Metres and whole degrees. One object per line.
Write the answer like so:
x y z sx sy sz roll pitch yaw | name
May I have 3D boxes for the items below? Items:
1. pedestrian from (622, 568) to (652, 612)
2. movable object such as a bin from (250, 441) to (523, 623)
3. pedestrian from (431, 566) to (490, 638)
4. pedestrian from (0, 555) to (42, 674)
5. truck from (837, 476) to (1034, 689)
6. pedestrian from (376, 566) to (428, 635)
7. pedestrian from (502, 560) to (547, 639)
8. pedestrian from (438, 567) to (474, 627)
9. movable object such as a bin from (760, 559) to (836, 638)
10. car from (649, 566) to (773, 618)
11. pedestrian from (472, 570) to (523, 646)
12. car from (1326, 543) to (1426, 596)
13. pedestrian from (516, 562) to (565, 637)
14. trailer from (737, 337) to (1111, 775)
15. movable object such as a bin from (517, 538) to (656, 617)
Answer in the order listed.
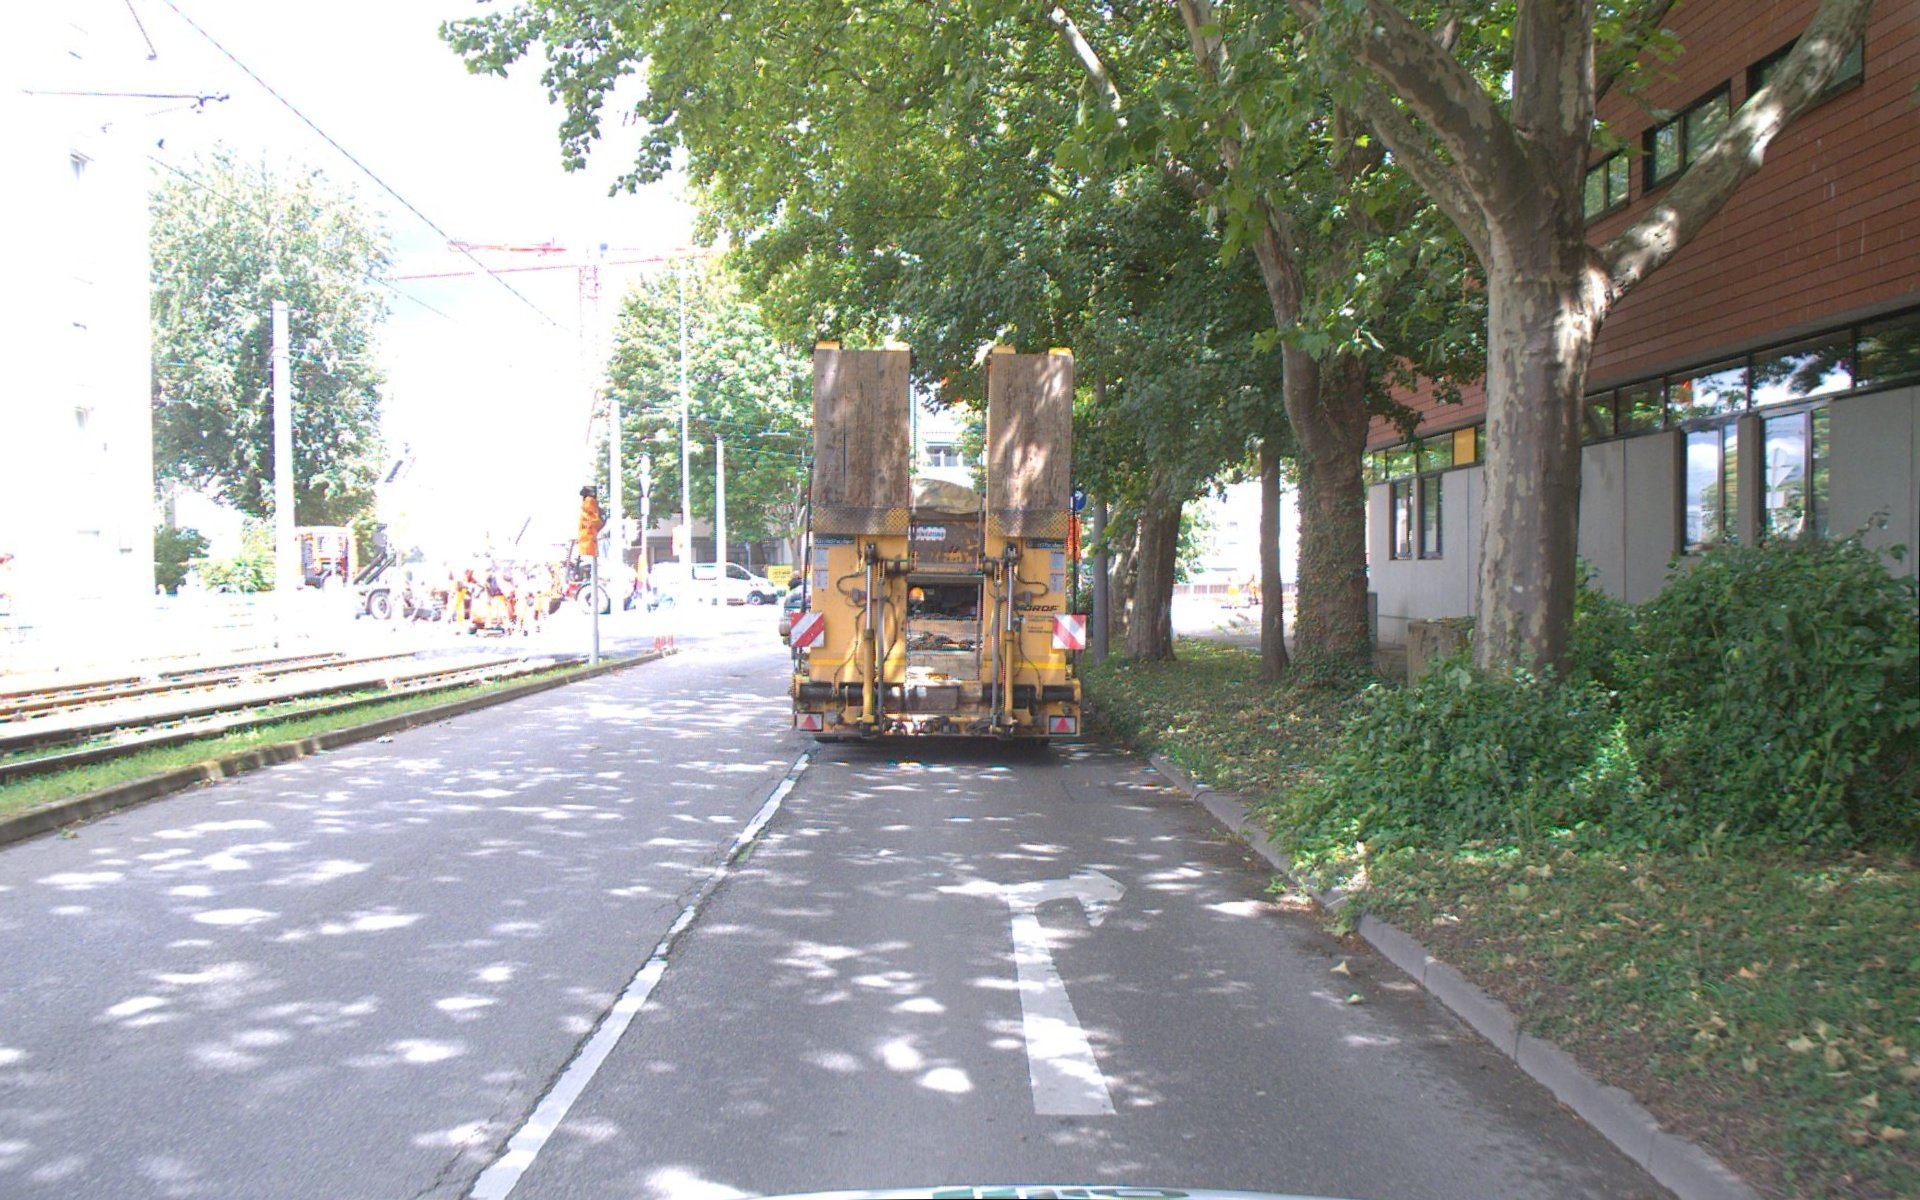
-10.841 -0.332 55.535 0.898 1.434 0.752 1 0 -3 | pedestrian
-18.512 -2.100 53.215 9.020 5.509 2.662 0 0 26 | movable object such as a bin
-12.307 0.045 40.752 0.873 1.745 1.103 1 0 44 | pedestrian
-14.332 0.207 24.758 0.685 1.748 0.867 1 0 -1 | pedestrian
-0.423 -0.273 28.819 2.928 3.190 7.886 0 0 -1 | truck
-13.840 0.012 41.022 0.819 1.673 0.886 1 0 30 | pedestrian
-10.646 -0.016 40.438 0.876 1.900 0.829 0 0 -30 | pedestrian
-14.219 -0.097 46.705 0.869 1.673 0.897 1 0 -11 | pedestrian
-4.282 -0.047 43.979 1.369 2.049 2.558 1 0 10 | movable object such as a bin
-10.535 -0.324 69.973 5.005 2.139 1.969 0 0 -16 | car
-10.995 0.186 39.334 0.866 1.791 0.838 1 0 10 | pedestrian
19.190 -1.376 76.313 4.192 2.406 2.138 0 0 -29 | car
-10.740 -0.017 42.351 0.868 1.900 0.836 1 0 28 | pedestrian
-0.345 -0.381 19.321 3.090 3.615 11.095 0 0 -1 | trailer
-13.005 -0.768 57.559 4.280 2.675 2.218 0 0 26 | movable object such as a bin
